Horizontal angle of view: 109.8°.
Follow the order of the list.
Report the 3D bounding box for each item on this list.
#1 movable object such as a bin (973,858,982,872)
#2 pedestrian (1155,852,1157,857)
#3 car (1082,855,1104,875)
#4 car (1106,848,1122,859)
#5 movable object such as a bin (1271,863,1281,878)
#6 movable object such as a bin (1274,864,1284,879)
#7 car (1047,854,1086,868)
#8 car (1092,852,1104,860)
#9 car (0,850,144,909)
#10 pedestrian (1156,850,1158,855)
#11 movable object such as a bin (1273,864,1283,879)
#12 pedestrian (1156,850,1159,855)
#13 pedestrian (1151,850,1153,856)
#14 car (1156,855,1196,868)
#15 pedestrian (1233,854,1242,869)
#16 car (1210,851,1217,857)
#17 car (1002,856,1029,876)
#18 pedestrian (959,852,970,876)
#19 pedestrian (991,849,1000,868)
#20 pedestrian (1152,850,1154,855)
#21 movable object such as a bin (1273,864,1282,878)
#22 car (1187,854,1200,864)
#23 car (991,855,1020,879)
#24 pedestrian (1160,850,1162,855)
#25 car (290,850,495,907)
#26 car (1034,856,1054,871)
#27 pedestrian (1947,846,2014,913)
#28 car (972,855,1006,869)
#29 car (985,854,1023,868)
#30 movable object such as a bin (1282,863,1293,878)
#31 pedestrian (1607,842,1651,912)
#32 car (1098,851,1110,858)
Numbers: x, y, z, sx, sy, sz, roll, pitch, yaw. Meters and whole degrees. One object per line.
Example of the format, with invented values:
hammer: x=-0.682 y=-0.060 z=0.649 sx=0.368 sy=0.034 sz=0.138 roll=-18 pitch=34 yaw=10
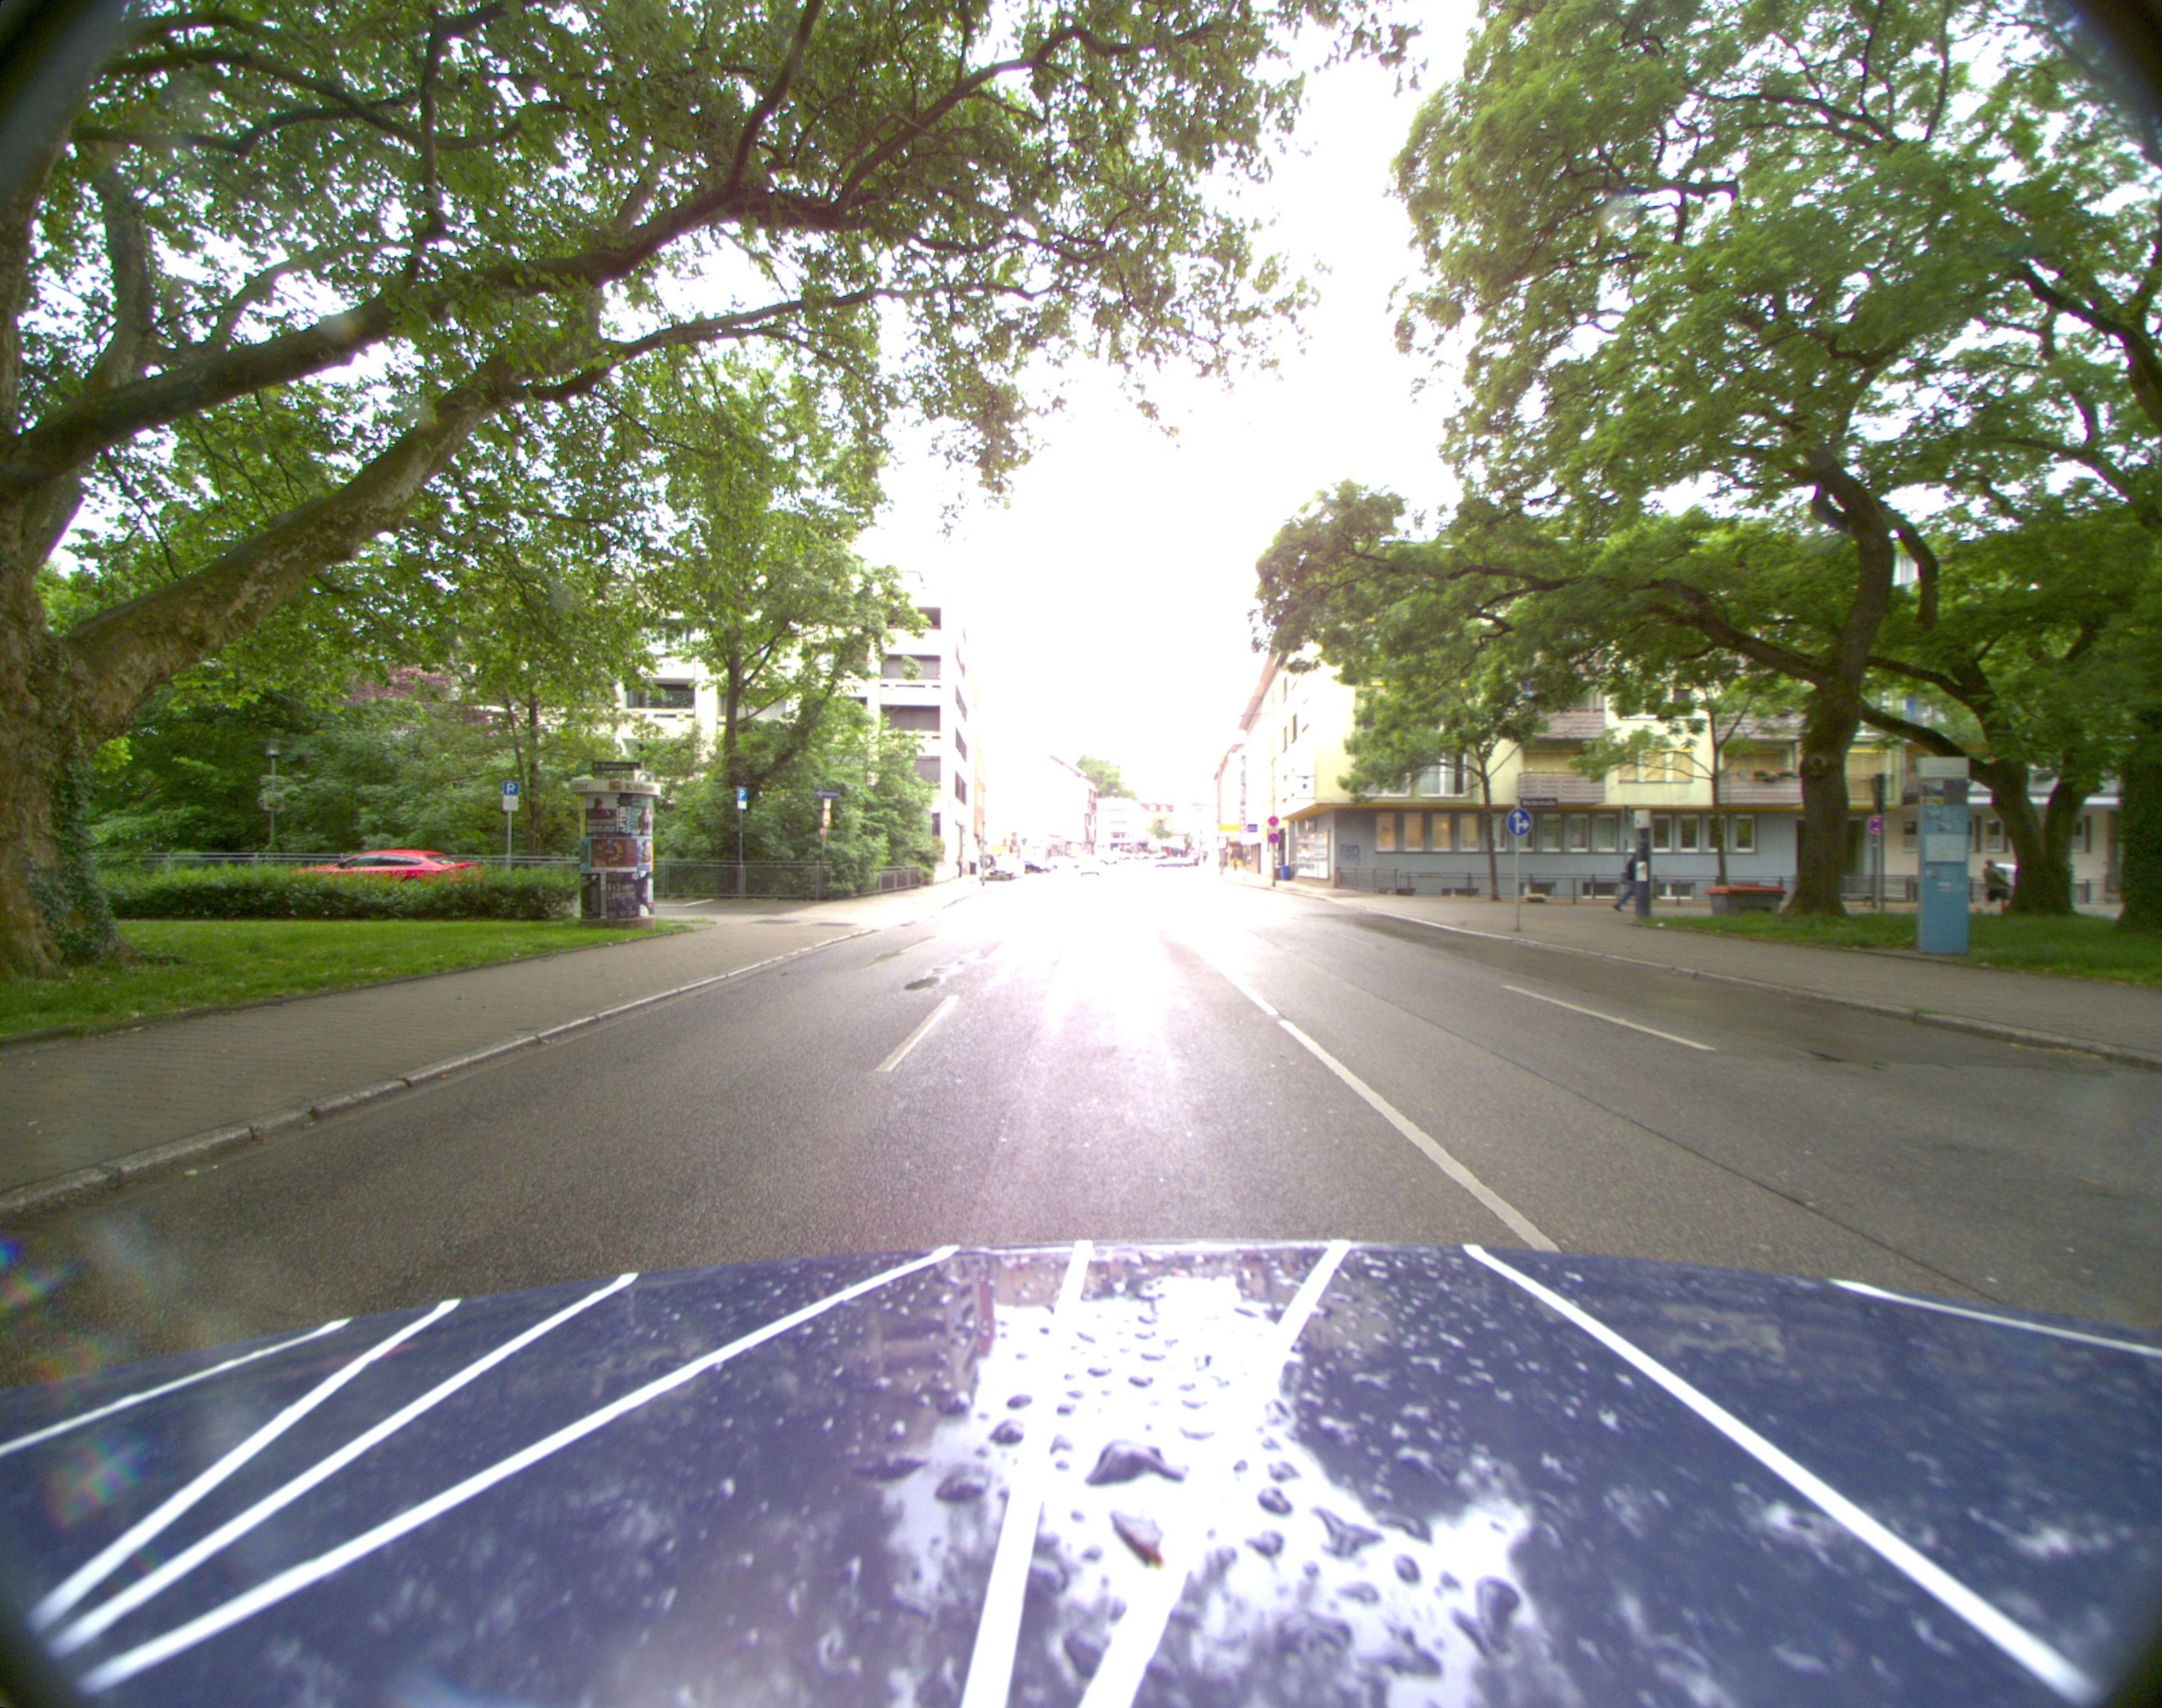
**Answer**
movable object such as a bin: x=-8.567 y=0.915 z=62.794 sx=0.681 sy=1.097 sz=0.514 roll=0 pitch=1 yaw=-1
pedestrian: x=18.392 y=0.139 z=185.709 sx=0.379 sy=1.283 sz=0.401 roll=0 pitch=1 yaw=39
car: x=1.001 y=0.854 z=63.531 sx=1.756 sy=1.559 sz=4.000 roll=-2 pitch=0 yaw=1
car: x=5.560 y=-0.075 z=127.546 sx=2.016 sy=1.754 sz=4.766 roll=1 pitch=0 yaw=9
movable object such as a bin: x=13.014 y=1.108 z=50.625 sx=0.517 sy=0.994 sz=0.524 roll=-4 pitch=0 yaw=8
movable object such as a bin: x=12.716 y=1.116 z=48.726 sx=0.529 sy=0.890 sz=0.435 roll=-4 pitch=0 yaw=8
car: x=-1.789 y=0.830 z=93.463 sx=4.687 sy=1.559 sz=1.758 roll=-2 pitch=0 yaw=2
car: x=3.028 y=0.273 z=133.326 sx=1.736 sy=1.389 sz=3.744 roll=0 pitch=0 yaw=8
car: x=-29.532 y=0.678 z=21.396 sx=3.932 sy=1.561 sz=1.735 roll=1 pitch=0 yaw=-4
pedestrian: x=18.357 y=-0.369 z=183.200 sx=0.379 sy=1.283 sz=0.401 roll=0 pitch=1 yaw=38
movable object such as a bin: x=12.806 y=1.114 z=49.289 sx=0.529 sy=0.922 sz=0.426 roll=-4 pitch=0 yaw=8
pedestrian: x=17.991 y=-0.363 z=178.944 sx=0.379 sy=1.283 sz=0.401 roll=1 pitch=1 yaw=40
pedestrian: x=16.829 y=-0.280 z=180.375 sx=0.379 sy=1.283 sz=0.401 roll=0 pitch=1 yaw=39
car: x=12.016 y=0.971 z=96.697 sx=4.964 sy=1.596 sz=1.563 roll=1 pitch=0 yaw=5
pedestrian: x=17.073 y=0.855 z=82.764 sx=0.785 sy=1.578 sz=0.674 roll=-2 pitch=0 yaw=21
car: x=33.686 y=-0.073 z=193.128 sx=1.591 sy=1.518 sz=3.491 roll=0 pitch=0 yaw=14
car: x=-5.143 y=0.927 z=60.407 sx=1.835 sy=1.412 sz=4.569 roll=1 pitch=0 yaw=-1
pedestrian: x=-8.017 y=0.671 z=52.332 sx=0.599 sy=1.650 sz=0.691 roll=3 pitch=0 yaw=-7
pedestrian: x=-9.382 y=0.505 z=83.157 sx=0.806 sy=2.140 sz=0.737 roll=0 pitch=1 yaw=-23
pedestrian: x=17.448 y=-0.343 z=184.484 sx=0.379 sy=1.283 sz=0.401 roll=0 pitch=1 yaw=38
movable object such as a bin: x=12.883 y=1.119 z=49.816 sx=0.465 sy=0.922 sz=0.428 roll=-4 pitch=0 yaw=8
car: x=17.972 y=0.783 z=121.373 sx=1.834 sy=1.612 sz=4.003 roll=0 pitch=0 yaw=10
car: x=-5.315 y=0.894 z=53.715 sx=1.706 sy=1.549 sz=3.804 roll=1 pitch=0 yaw=-1
pedestrian: x=18.894 y=-0.354 z=178.659 sx=0.379 sy=1.283 sz=0.401 roll=0 pitch=1 yaw=39
car: x=-19.553 y=0.684 z=21.745 sx=3.999 sy=1.473 sz=1.875 roll=1 pitch=1 yaw=-5
car: x=-4.095 y=1.032 z=83.085 sx=1.758 sy=1.559 sz=3.997 roll=-2 pitch=0 yaw=-9
pedestrian: x=26.096 y=0.728 z=22.062 sx=0.918 sy=1.913 sz=0.820 roll=0 pitch=1 yaw=6
car: x=-11.357 y=1.011 z=93.946 sx=3.967 sy=1.559 sz=1.598 roll=-2 pitch=0 yaw=2
car: x=-9.767 y=0.878 z=97.055 sx=4.560 sy=1.559 sz=1.758 roll=-2 pitch=0 yaw=4
movable object such as a bin: x=13.093 y=1.052 z=48.168 sx=0.529 sy=0.955 sz=0.435 roll=-4 pitch=0 yaw=8
pedestrian: x=16.177 y=0.666 z=22.434 sx=0.783 sy=2.002 sz=0.751 roll=0 pitch=1 yaw=-25
car: x=4.394 y=0.076 z=143.283 sx=1.736 sy=1.389 sz=3.745 roll=0 pitch=0 yaw=11
